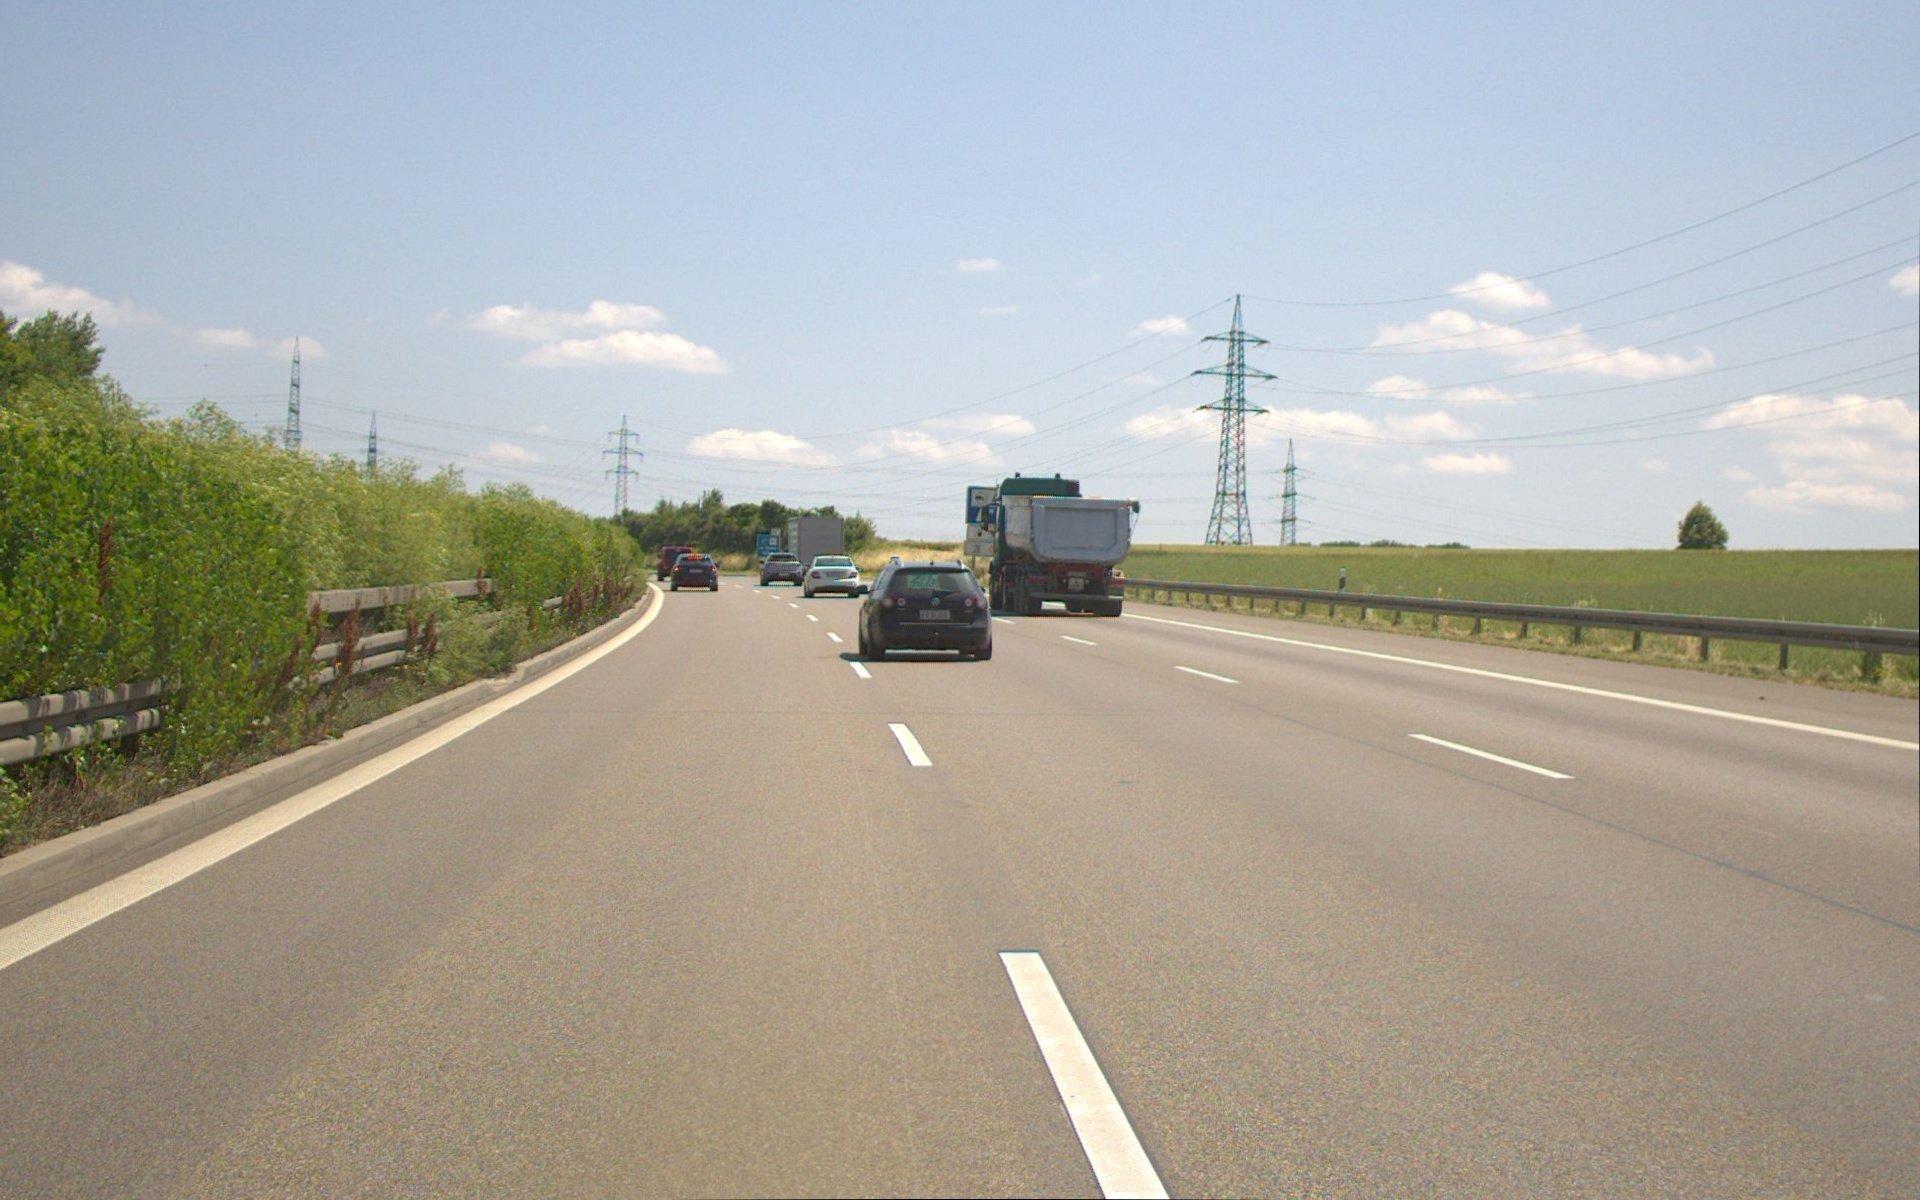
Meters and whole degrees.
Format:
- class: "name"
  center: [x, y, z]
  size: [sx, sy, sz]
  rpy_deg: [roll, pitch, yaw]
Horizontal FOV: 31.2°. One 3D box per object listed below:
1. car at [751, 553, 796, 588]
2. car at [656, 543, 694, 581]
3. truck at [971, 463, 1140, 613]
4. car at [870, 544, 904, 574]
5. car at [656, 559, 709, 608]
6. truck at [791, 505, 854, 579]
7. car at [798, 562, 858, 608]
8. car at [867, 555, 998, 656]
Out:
- class: "car"
  center: [-8.515, -1.344, 156.733]
  size: [1.838, 1.535, 3.915]
  rpy_deg: [0, 1, -6]
- class: "car"
  center: [-14.791, -1.976, 178.086]
  size: [1.901, 1.919, 4.001]
  rpy_deg: [0, 1, -6]
- class: "truck"
  center: [2.403, -1.613, 92.263]
  size: [2.864, 3.711, 12.765]
  rpy_deg: [0, 1, -6]
- class: "car"
  center: [-4.540, -2.542, 213.323]
  size: [1.993, 1.846, 4.001]
  rpy_deg: [1, 1, -3]
- class: "car"
  center: [-10.755, -0.656, 133.426]
  size: [1.993, 1.853, 4.001]
  rpy_deg: [1, 1, -4]
- class: "truck"
  center: [-7.728, -3.216, 192.612]
  size: [3.220, 3.911, 9.062]
  rpy_deg: [1, 0, -4]
- class: "car"
  center: [-4.530, -0.513, 117.466]
  size: [1.819, 1.535, 3.915]
  rpy_deg: [0, 1, -5]
- class: "car"
  center: [-0.450, 0.062, 51.046]
  size: [1.756, 1.424, 4.001]
  rpy_deg: [1, 1, -3]
